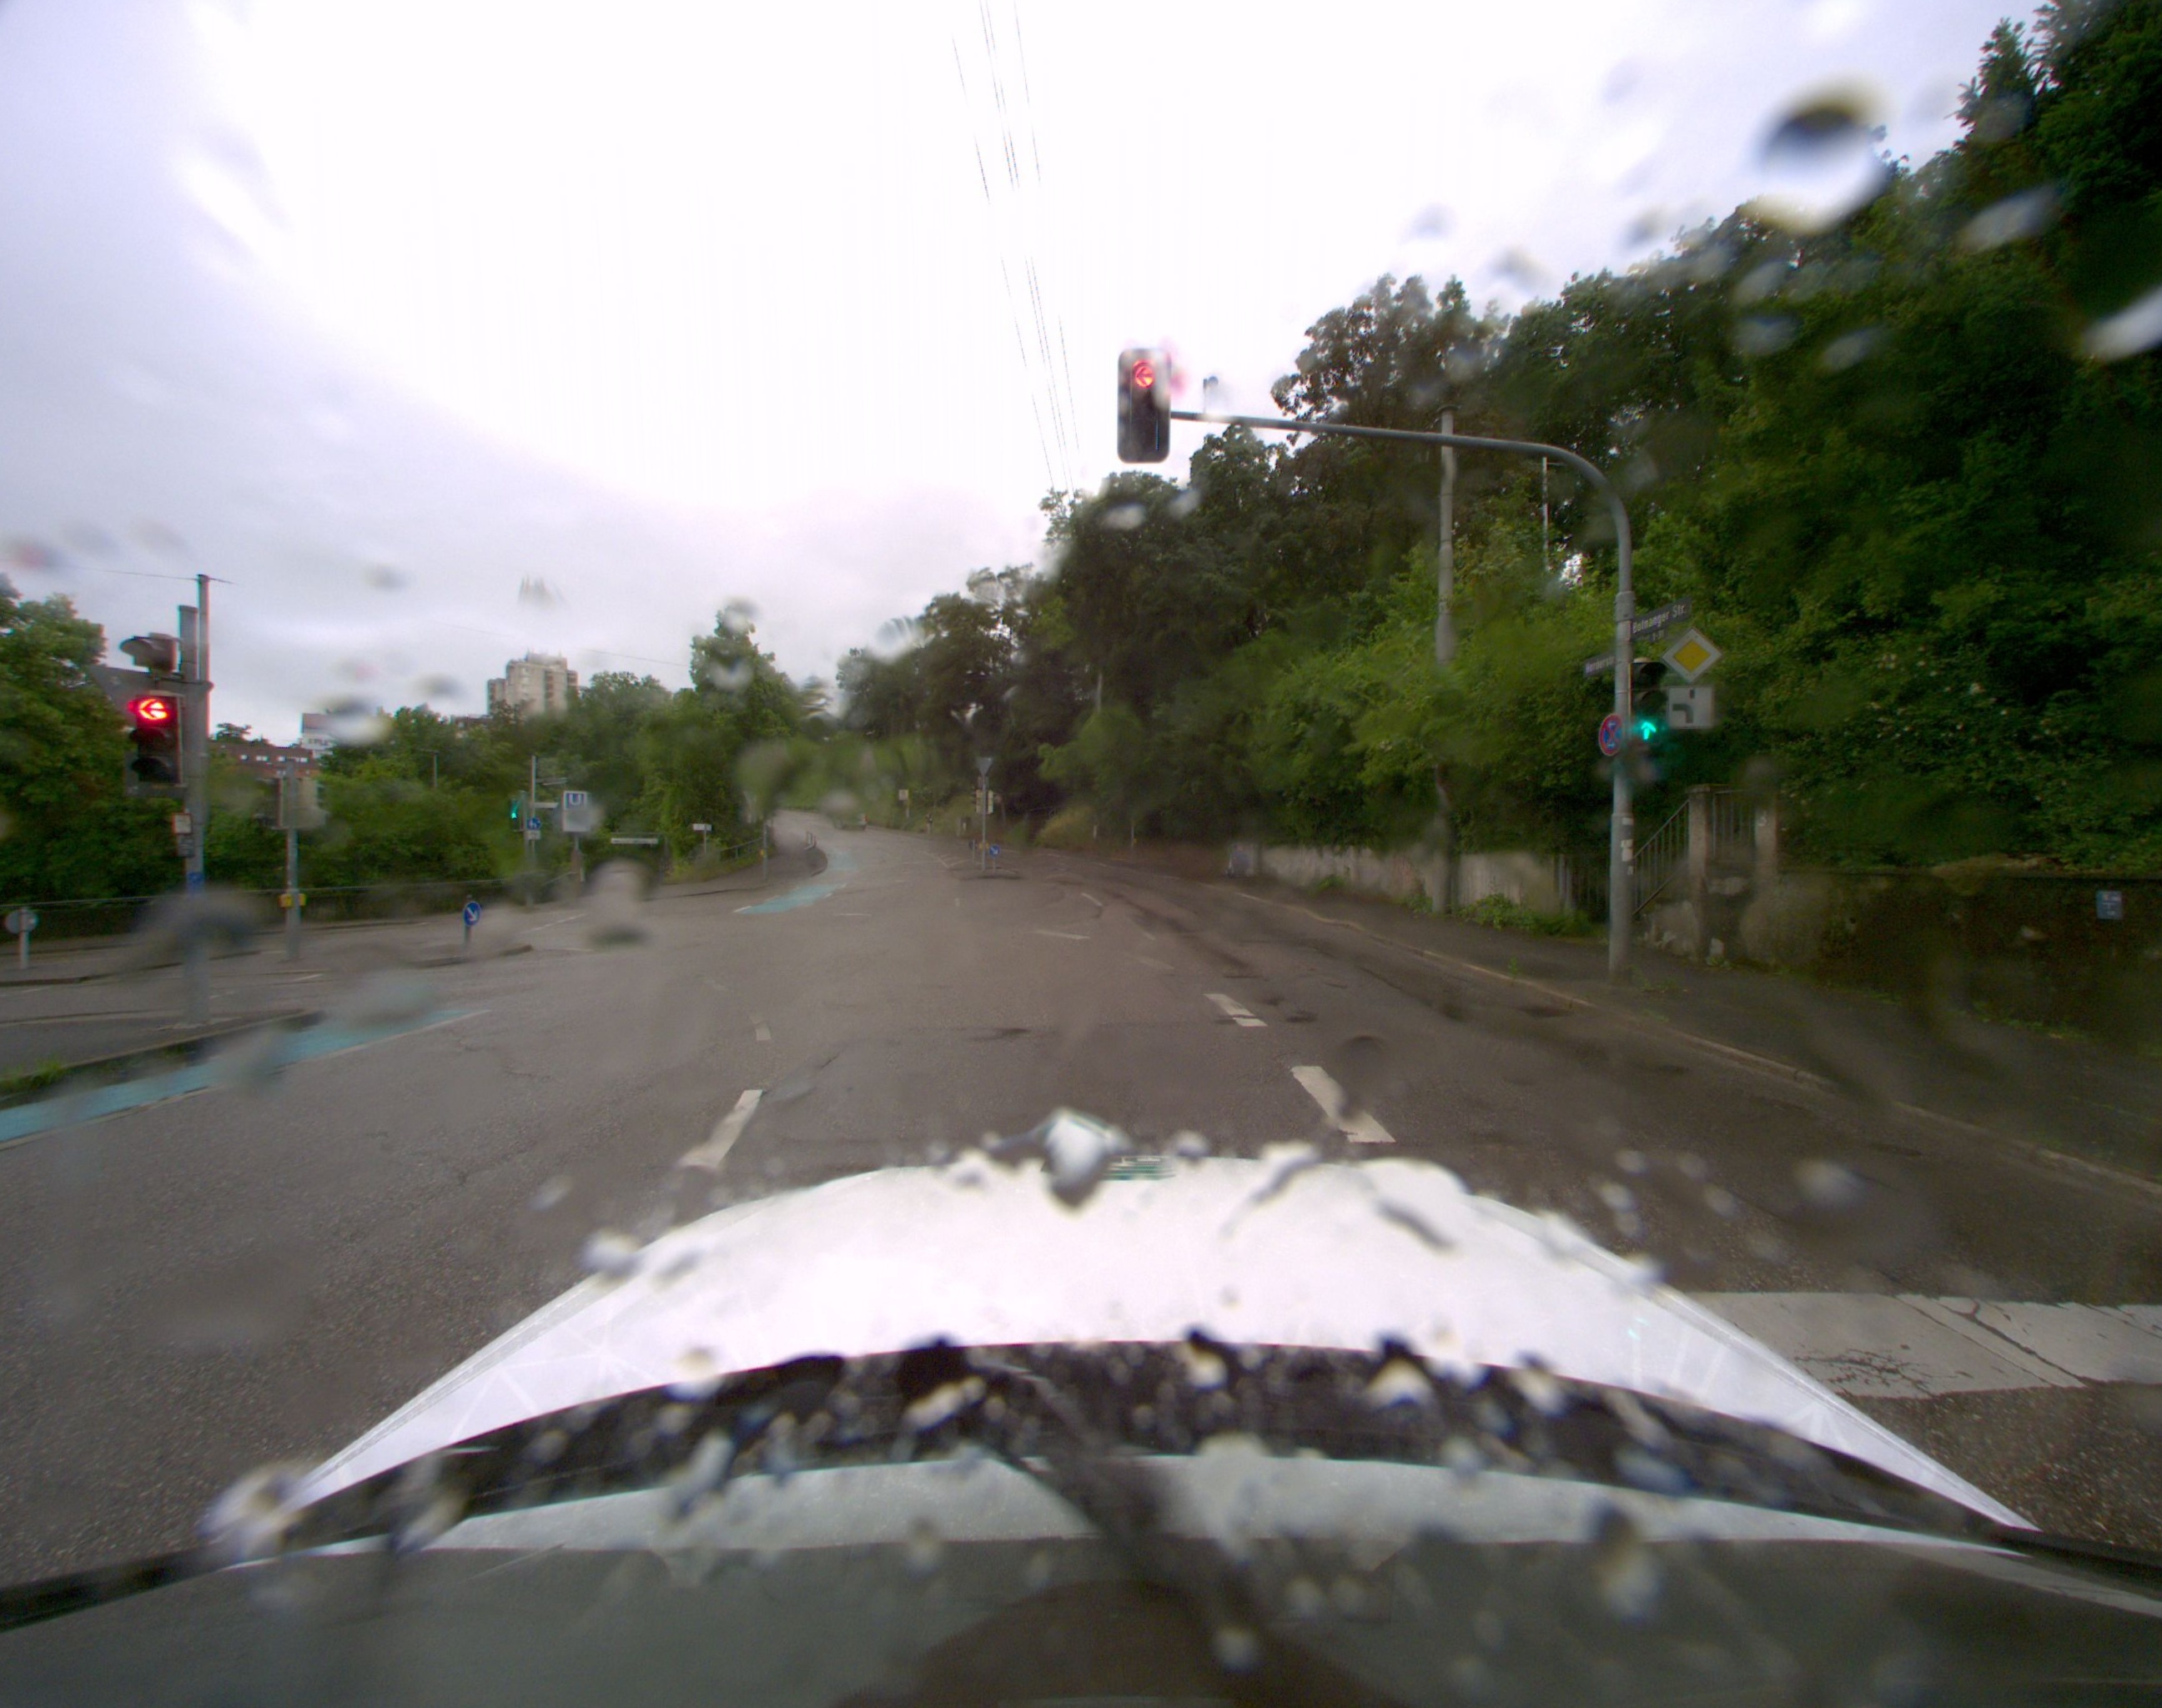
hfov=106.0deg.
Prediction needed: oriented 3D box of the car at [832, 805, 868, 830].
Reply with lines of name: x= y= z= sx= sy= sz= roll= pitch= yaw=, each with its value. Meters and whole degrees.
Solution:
car: x=-20.170 y=-3.162 z=70.907 sx=2.078 sy=2.006 sz=4.772 roll=-1 pitch=1 yaw=-28

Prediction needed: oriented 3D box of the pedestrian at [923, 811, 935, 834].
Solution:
pedestrian: x=-11.499 y=-2.388 z=61.571 sx=0.882 sy=1.736 sz=0.861 roll=0 pitch=-1 yaw=-15

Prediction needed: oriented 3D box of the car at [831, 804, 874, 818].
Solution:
car: x=-26.566 y=-5.005 z=94.672 sx=4.357 sy=1.511 sz=1.971 roll=1 pitch=3 yaw=15

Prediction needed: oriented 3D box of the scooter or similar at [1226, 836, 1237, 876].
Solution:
scooter or similar: x=4.908 y=0.062 z=26.491 sx=0.320 sy=1.279 sz=0.754 roll=-1 pitch=2 yaw=10
